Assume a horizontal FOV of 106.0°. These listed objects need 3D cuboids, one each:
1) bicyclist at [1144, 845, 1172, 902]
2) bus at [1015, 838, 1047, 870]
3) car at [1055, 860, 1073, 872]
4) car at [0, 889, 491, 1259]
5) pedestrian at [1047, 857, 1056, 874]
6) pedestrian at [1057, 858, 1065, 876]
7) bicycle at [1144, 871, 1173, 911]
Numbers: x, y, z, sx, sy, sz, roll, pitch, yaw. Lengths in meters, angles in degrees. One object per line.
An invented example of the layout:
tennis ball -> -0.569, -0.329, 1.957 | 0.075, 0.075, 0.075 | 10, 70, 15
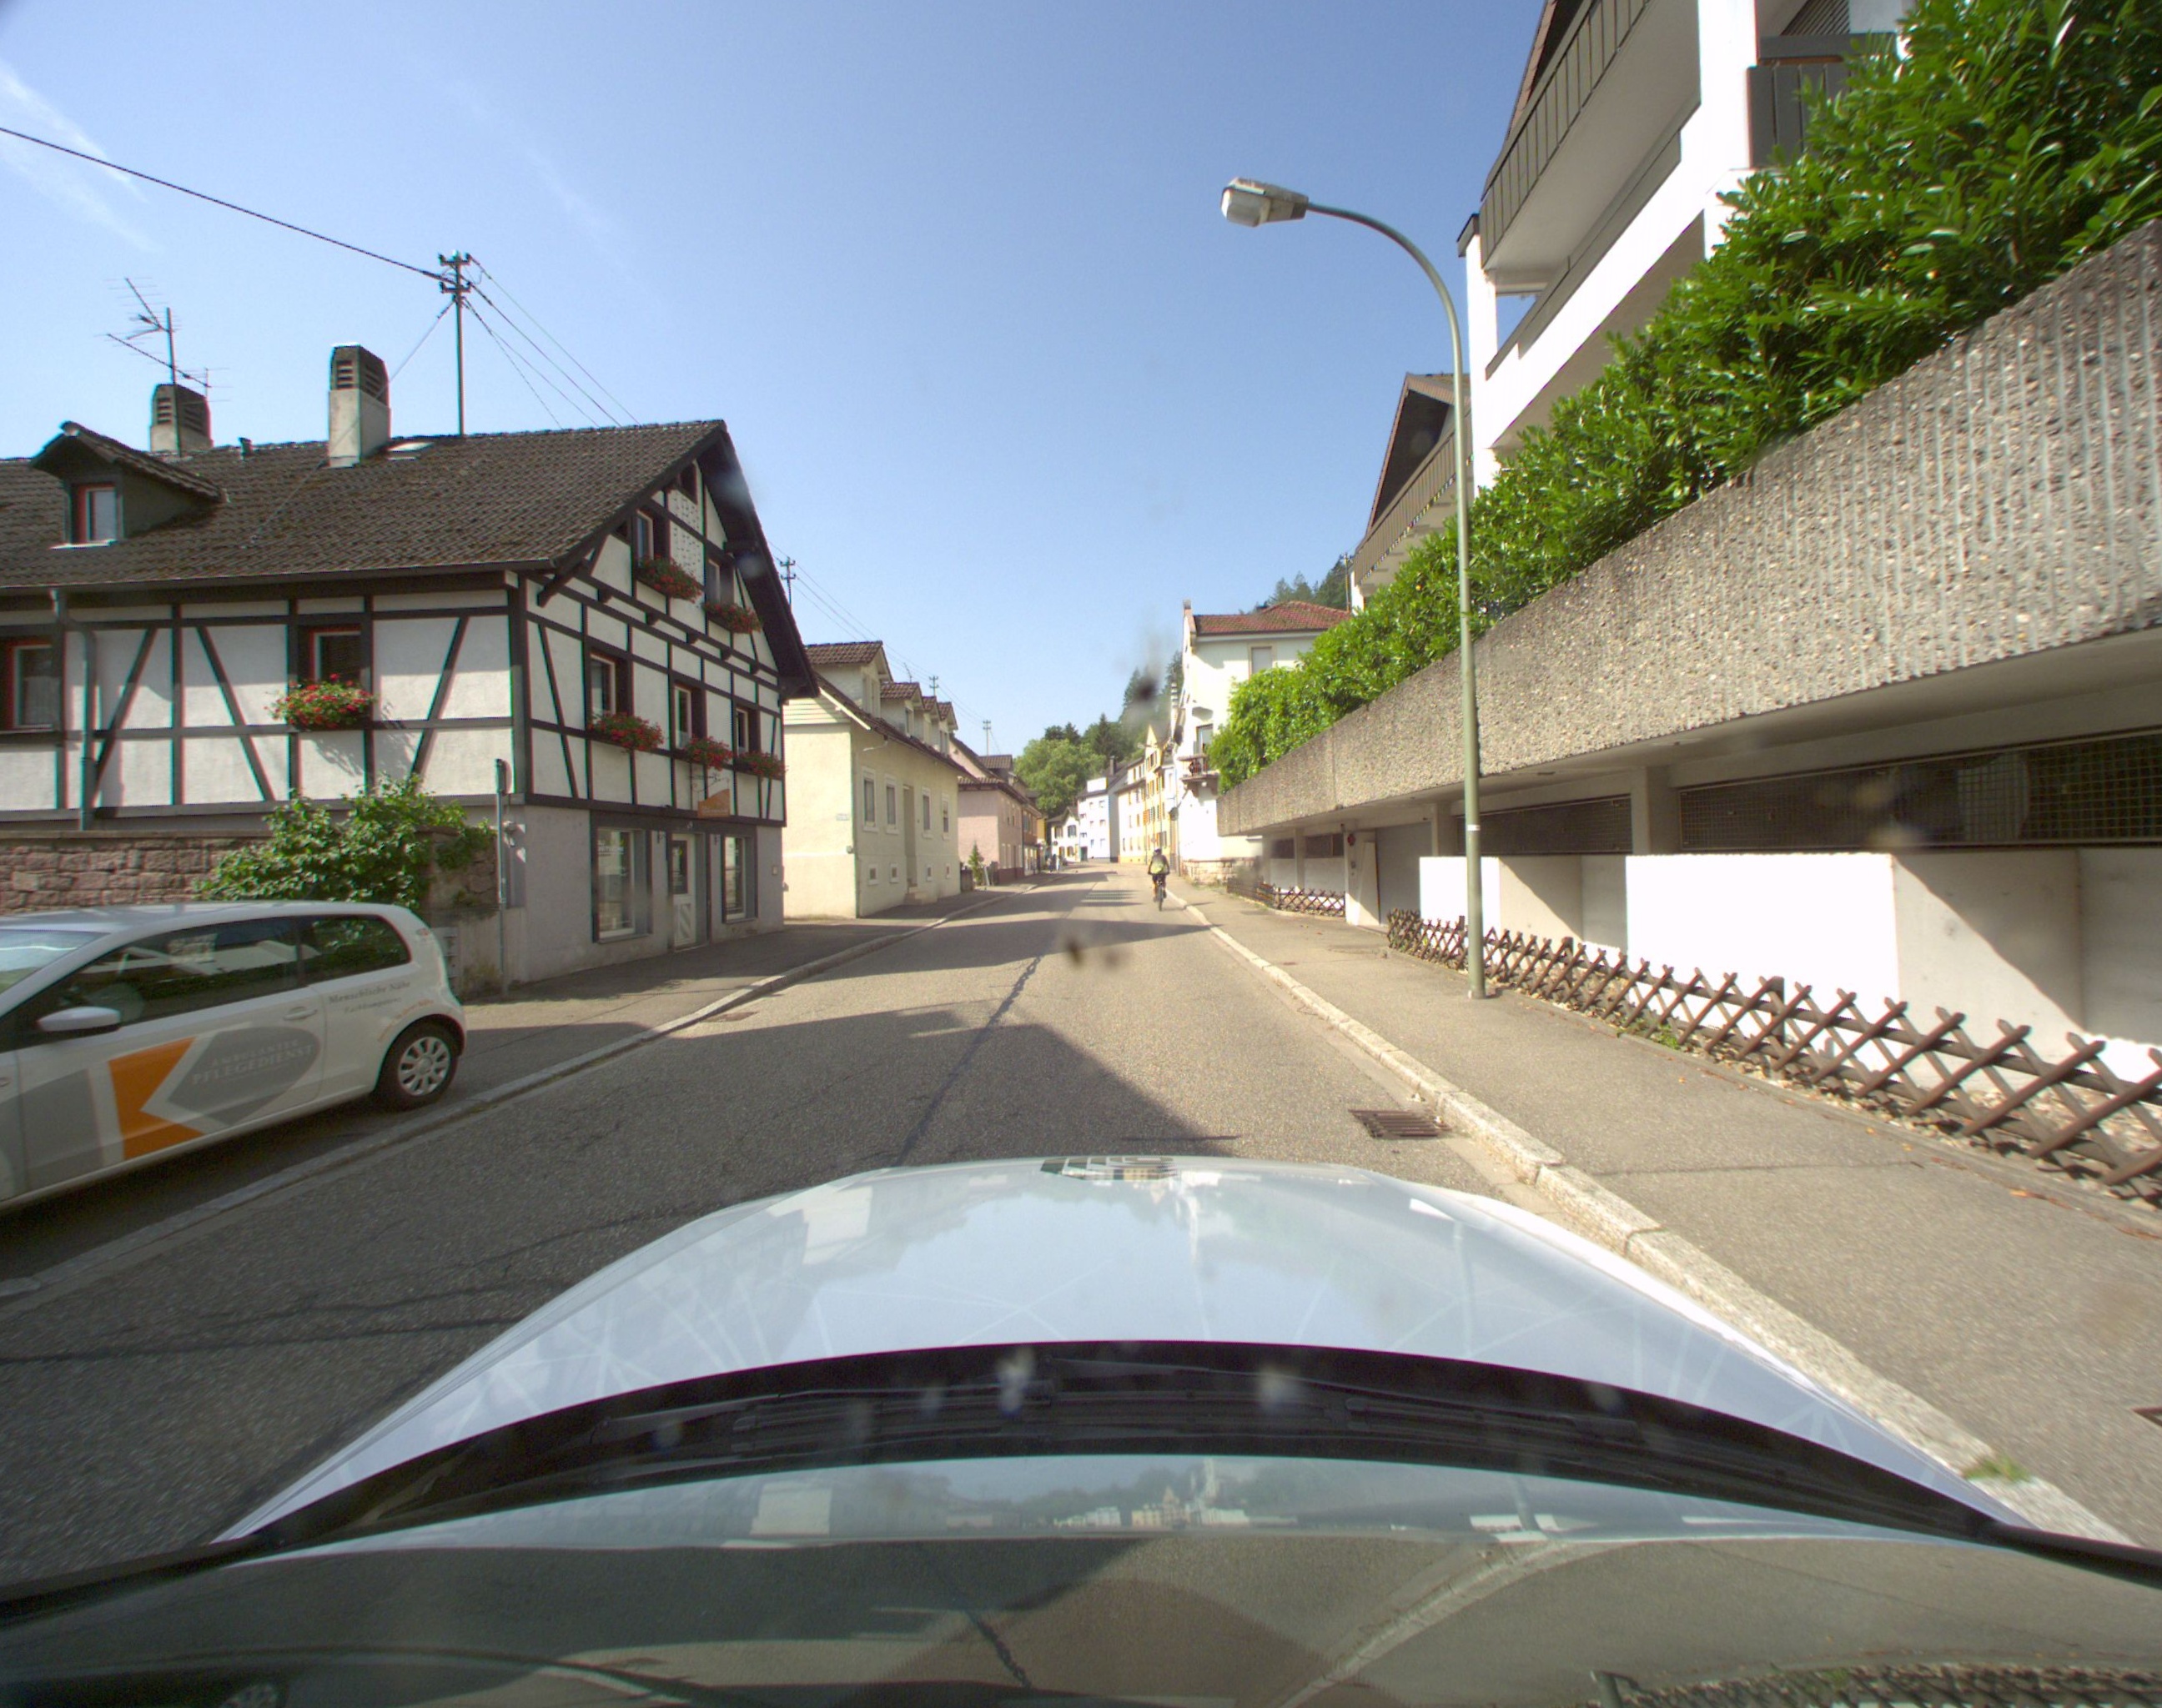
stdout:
bicyclist -> 2.149, 0.541, 22.857 | 0.683, 1.531, 0.716 | -2, -1, 1
bus -> -5.207, 0.007, 85.934 | 2.811, 3.228, 9.034 | 0, 0, 0
car -> -2.334, 1.666, 111.631 | 1.598, 1.464, 3.643 | -5, 0, -13
car -> -5.397, 1.005, 4.407 | 1.659, 1.432, 3.571 | 0, 1, 3
pedestrian -> -2.723, 1.028, 74.469 | 0.732, 1.564, 0.825 | 1, 0, 3
pedestrian -> -1.854, 1.201, 74.325 | 0.637, 1.626, 0.778 | 1, 0, 3
bicycle -> 2.165, 1.016, 22.915 | 0.696, 1.035, 1.471 | -1, 0, 1
